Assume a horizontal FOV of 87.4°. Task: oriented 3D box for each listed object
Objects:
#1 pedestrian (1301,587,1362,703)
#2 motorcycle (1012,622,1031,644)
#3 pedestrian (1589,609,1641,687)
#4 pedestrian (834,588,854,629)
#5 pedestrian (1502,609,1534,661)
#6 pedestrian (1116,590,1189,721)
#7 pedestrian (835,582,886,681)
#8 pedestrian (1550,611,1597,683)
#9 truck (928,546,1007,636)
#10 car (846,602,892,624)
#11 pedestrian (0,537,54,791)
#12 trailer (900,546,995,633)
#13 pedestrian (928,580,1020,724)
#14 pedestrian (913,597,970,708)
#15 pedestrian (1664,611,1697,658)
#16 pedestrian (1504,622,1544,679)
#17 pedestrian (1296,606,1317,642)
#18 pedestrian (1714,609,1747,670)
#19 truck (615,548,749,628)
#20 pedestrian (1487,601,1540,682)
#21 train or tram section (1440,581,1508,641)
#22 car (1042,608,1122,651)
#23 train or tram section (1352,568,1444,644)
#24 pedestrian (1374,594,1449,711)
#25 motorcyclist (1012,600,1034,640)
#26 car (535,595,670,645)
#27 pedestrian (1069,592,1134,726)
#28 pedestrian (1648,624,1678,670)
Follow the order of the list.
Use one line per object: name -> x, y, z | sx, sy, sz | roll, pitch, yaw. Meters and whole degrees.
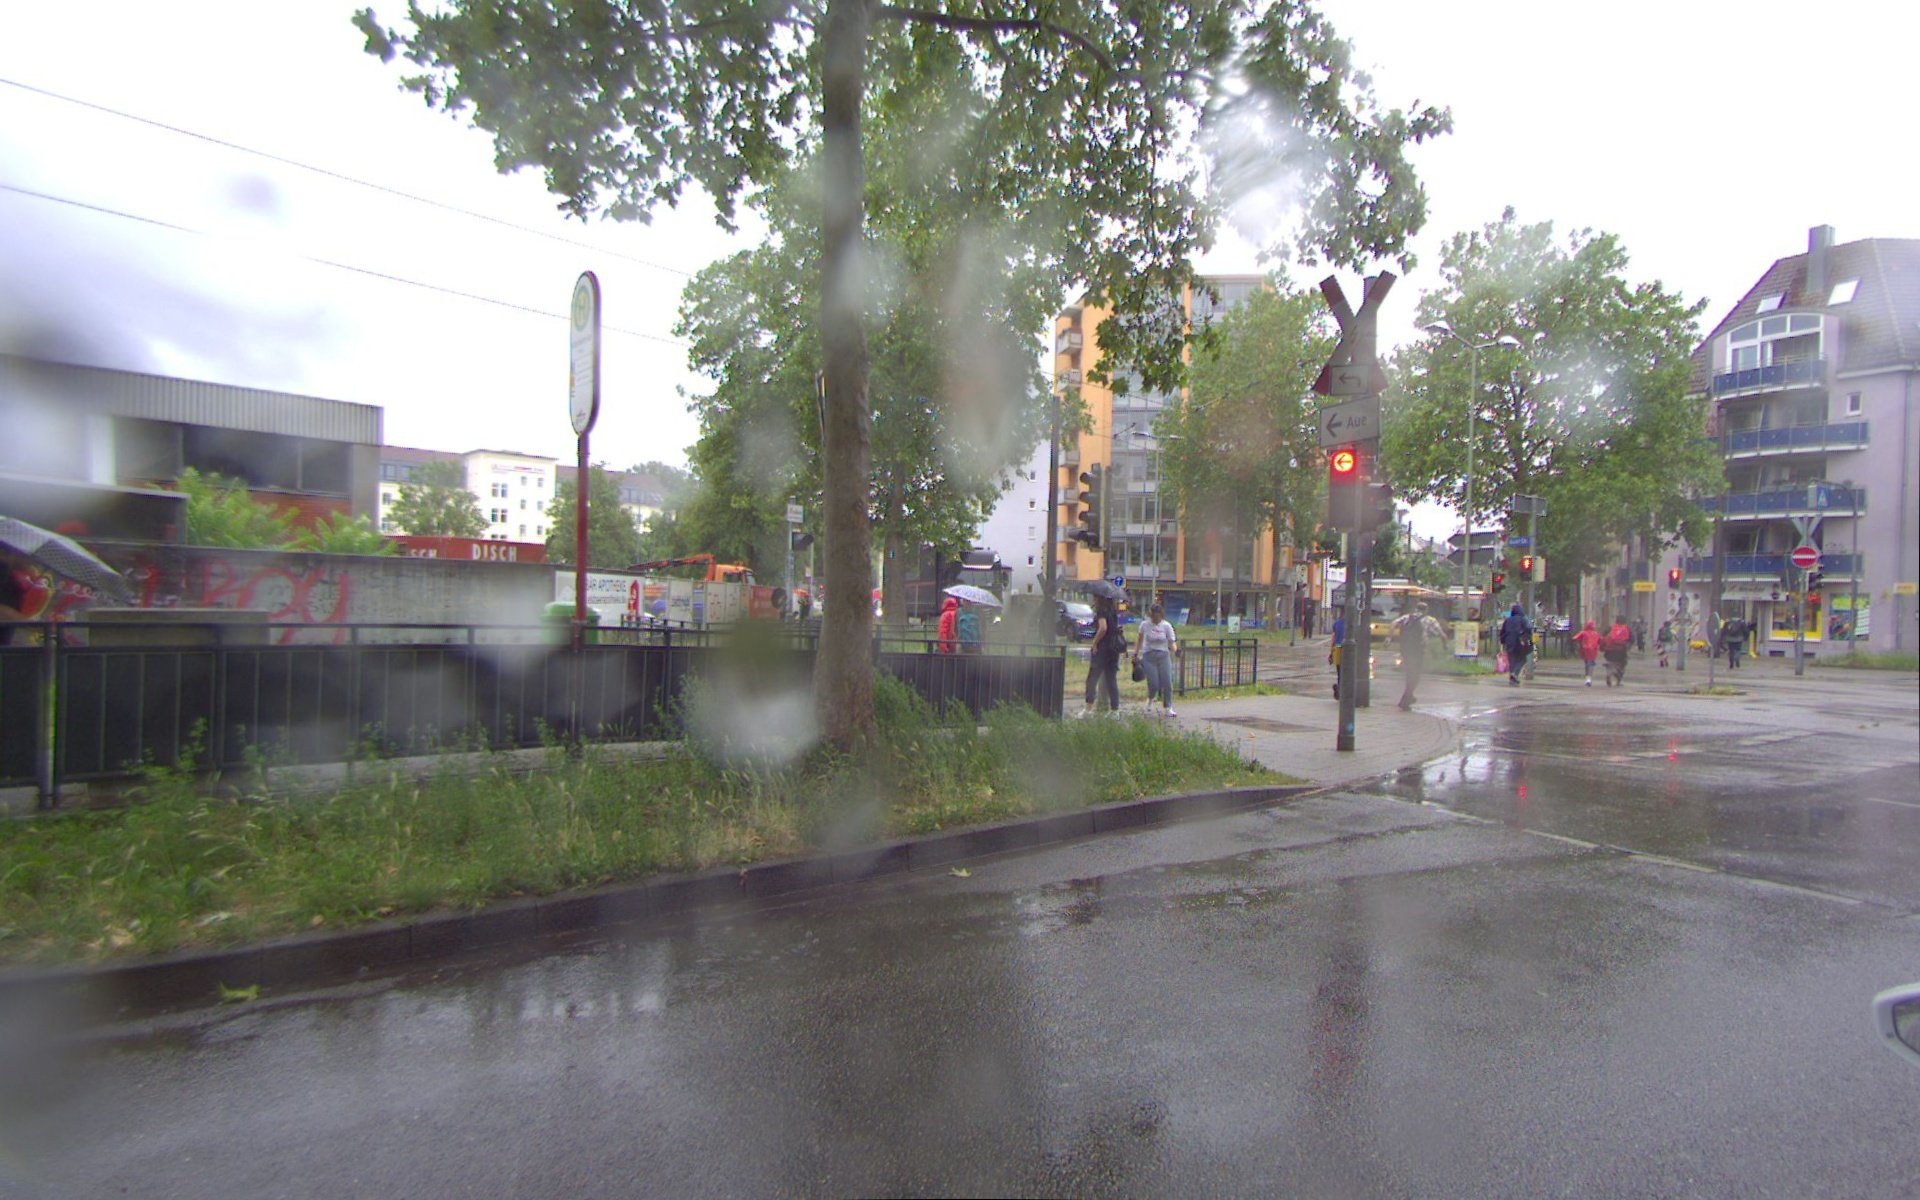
pedestrian -> 6.292, 0.744, 17.079 | 0.854, 1.889, 0.892 | 1, 0, 16
motorcycle -> 2.586, 1.372, 42.217 | 0.434, 0.853, 1.545 | 2, 0, -9
pedestrian -> 14.282, 1.031, 21.917 | 0.809, 1.646, 0.724 | 0, 0, -37
pedestrian -> -5.534, 0.403, 47.896 | 0.765, 1.891, 0.940 | 2, 0, 4
pedestrian -> 19.914, 1.234, 35.856 | 0.943, 1.789, 0.951 | 2, 0, 31
pedestrian -> 2.693, 0.753, 14.011 | 0.675, 1.752, 0.752 | 2, 1, 42
pedestrian -> -1.985, 0.613, 19.908 | 0.768, 1.891, 0.936 | 2, 0, -18
pedestrian -> 13.543, 1.032, 22.164 | 0.653, 1.540, 0.677 | 1, 0, -37
truck -> 0.265, -0.387, 46.048 | 2.593, 3.842, 4.444 | 2, 0, -13
car -> -8.264, 1.175, 90.925 | 3.930, 1.808, 1.996 | 2, 0, -12
pedestrian -> -5.697, 0.360, 5.907 | 0.603, 1.446, 0.492 | 2, 0, 44
trailer -> -0.829, -0.462, 50.738 | 2.593, 3.899, 10.114 | 2, 0, -13
pedestrian -> 0.206, 0.681, 13.585 | 0.966, 1.851, 1.077 | -2, 0, 15
pedestrian -> -0.268, 0.772, 15.029 | 0.782, 1.593, 0.659 | -2, 0, 2
pedestrian -> 33.715, 1.610, 46.997 | 0.875, 2.179, 0.906 | 2, 0, -24
pedestrian -> 14.088, 1.255, 25.092 | 0.704, 1.367, 0.650 | 1, 1, -44
pedestrian -> 17.674, 1.235, 51.212 | 0.941, 1.789, 0.952 | 2, 0, 20
pedestrian -> 24.616, 1.255, 32.087 | 0.777, 1.880, 0.679 | 2, 1, 37
truck -> -12.017, -0.485, 43.584 | 5.383, 3.205, 2.164 | 2, 0, -16
pedestrian -> 12.003, 0.898, 21.807 | 0.823, 1.721, 0.689 | -2, 0, 17
train or tram section -> 34.924, 0.742, 67.855 | 2.819, 3.593, 15.338 | 2, 0, 32
car -> 4.842, 1.148, 40.487 | 1.585, 1.551, 4.017 | 1, 1, -19
train or tram section -> 25.903, 0.462, 58.736 | 2.839, 3.818, 17.211 | 2, 0, 30
pedestrian -> 7.184, 0.807, 15.989 | 0.855, 1.778, 0.826 | 2, 1, 41
motorcyclist -> 2.635, 0.838, 42.285 | 0.765, 1.635, 0.775 | 2, 0, -5
car -> -10.435, 0.576, 29.392 | 3.447, 1.323, 1.405 | 2, 0, 10
pedestrian -> 1.873, 0.766, 13.278 | 0.782, 1.705, 0.660 | -2, 0, 8
pedestrian -> 22.290, 1.492, 31.854 | 0.638, 1.414, 0.782 | 1, 0, 26
